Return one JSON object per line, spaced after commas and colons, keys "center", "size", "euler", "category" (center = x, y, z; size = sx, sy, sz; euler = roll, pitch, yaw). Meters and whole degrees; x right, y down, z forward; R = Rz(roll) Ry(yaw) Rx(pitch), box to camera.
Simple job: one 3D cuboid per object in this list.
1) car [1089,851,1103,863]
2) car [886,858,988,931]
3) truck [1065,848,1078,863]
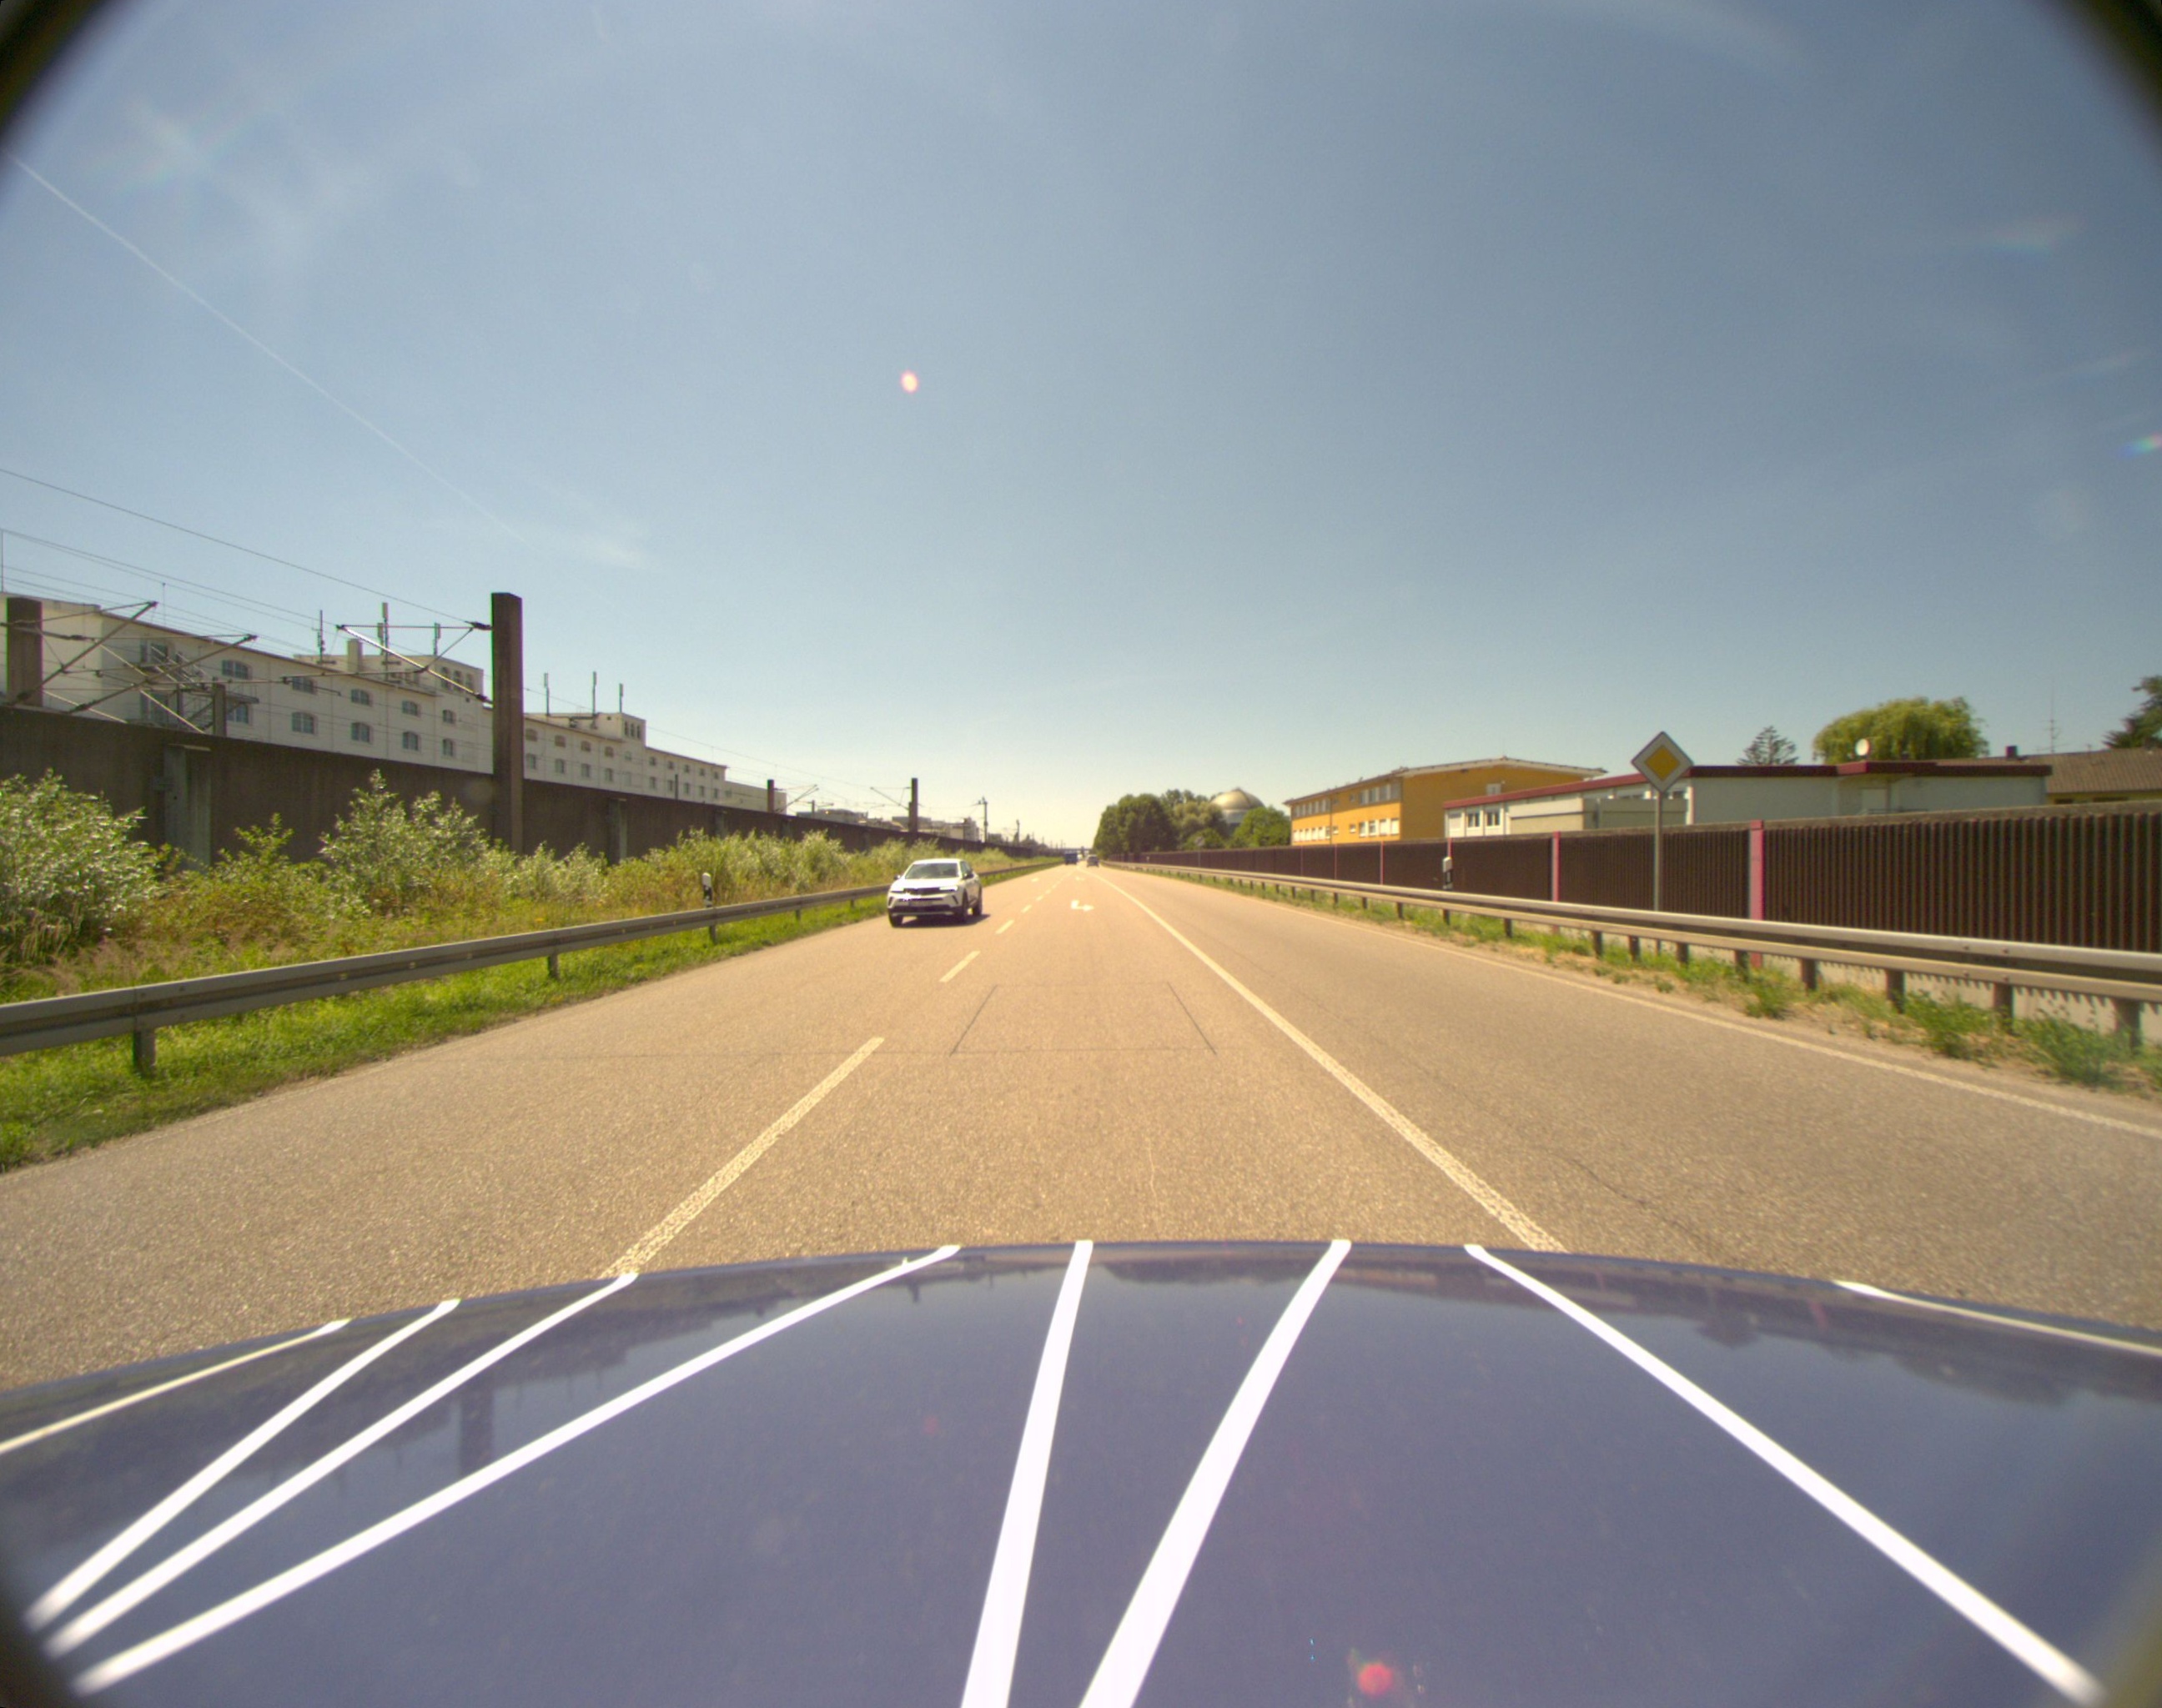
{"center": [2.289, 0.498, 114.612], "size": [1.892, 1.730, 4.775], "euler": [-1, 0, -1], "category": "car"}
{"center": [-3.489, 0.924, 19.152], "size": [1.823, 1.554, 4.277], "euler": [-1, 0, -2], "category": "car"}
{"center": [-1.928, 0.217, 157.568], "size": [2.617, 3.024, 10.654], "euler": [-1, 0, 0], "category": "truck"}
